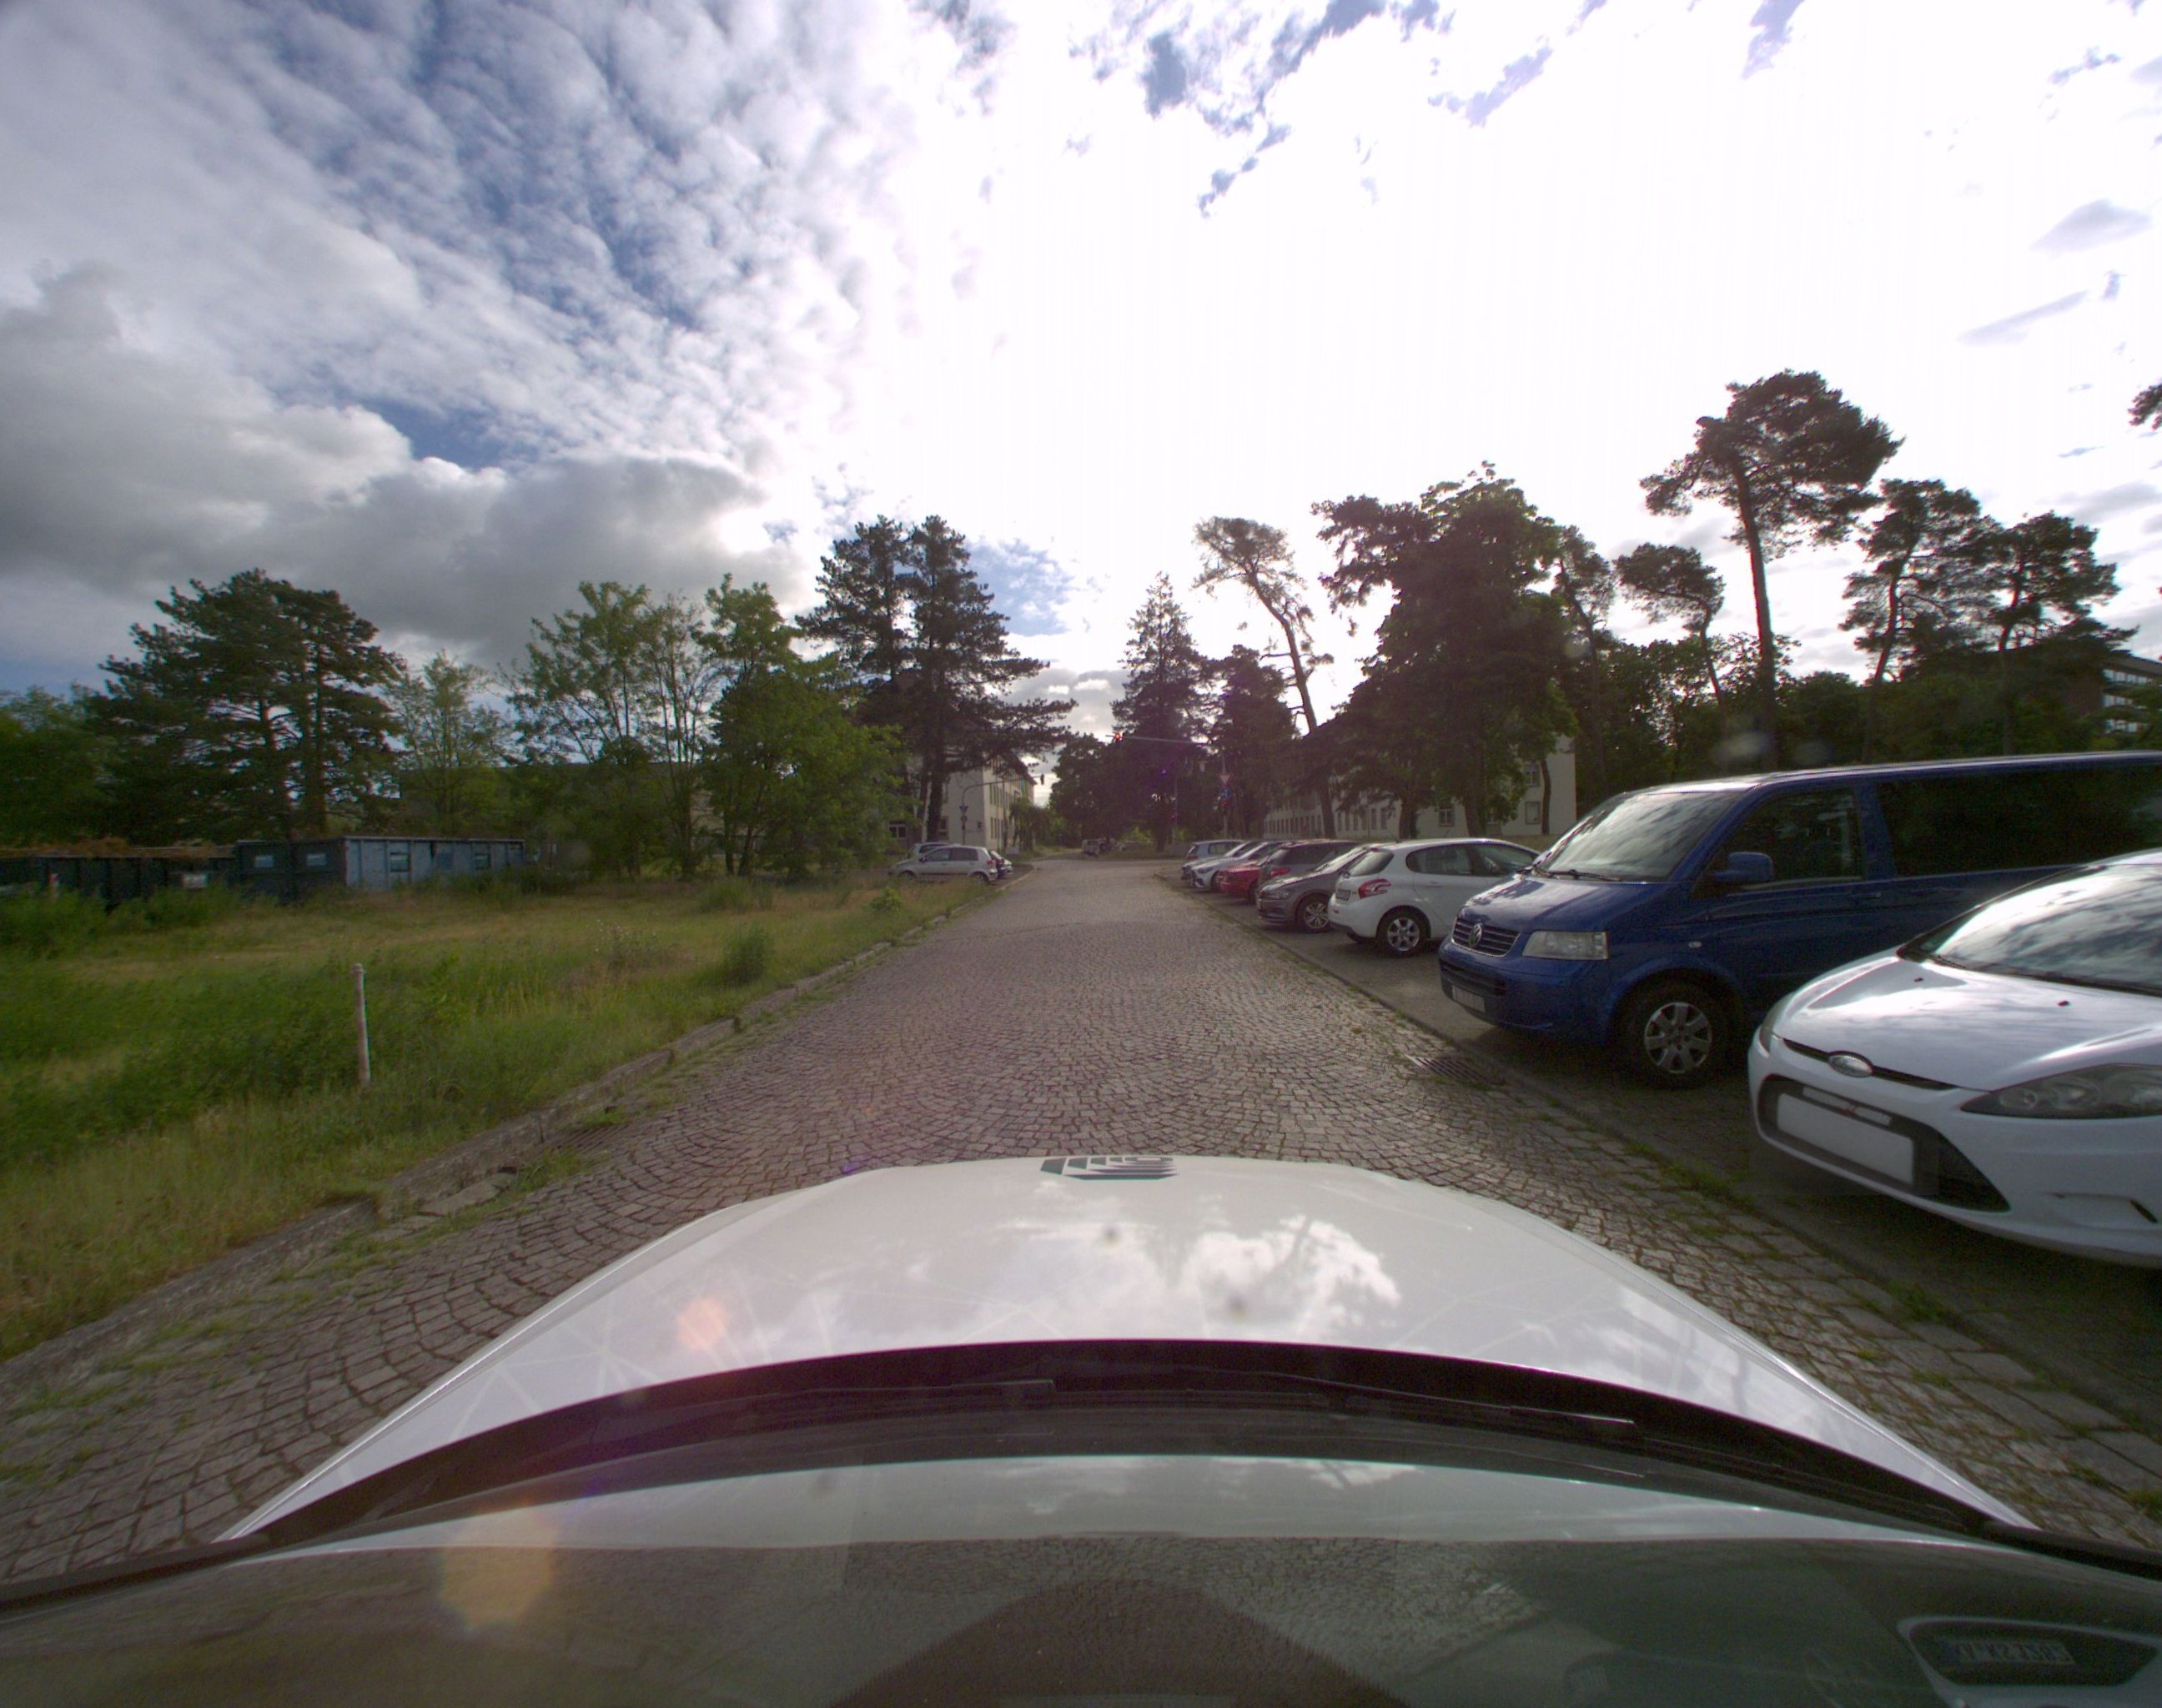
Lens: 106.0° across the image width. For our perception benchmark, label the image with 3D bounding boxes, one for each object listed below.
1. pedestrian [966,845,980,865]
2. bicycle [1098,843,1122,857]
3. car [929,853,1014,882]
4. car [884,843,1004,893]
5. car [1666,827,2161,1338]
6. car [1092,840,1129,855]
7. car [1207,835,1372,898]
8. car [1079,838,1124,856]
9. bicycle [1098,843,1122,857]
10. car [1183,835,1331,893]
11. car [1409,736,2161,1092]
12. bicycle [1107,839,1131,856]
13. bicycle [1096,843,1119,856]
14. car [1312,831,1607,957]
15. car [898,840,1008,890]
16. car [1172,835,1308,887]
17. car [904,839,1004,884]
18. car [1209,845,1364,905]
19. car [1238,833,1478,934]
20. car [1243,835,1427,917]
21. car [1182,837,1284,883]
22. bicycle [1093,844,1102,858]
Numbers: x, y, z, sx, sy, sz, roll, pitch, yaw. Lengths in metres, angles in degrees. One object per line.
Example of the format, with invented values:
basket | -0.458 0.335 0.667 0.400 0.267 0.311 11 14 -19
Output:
pedestrian | -8.379 0.094 62.951 0.895 1.498 0.904 -1 1 1
bicycle | 2.802 -0.425 79.200 2.158 1.268 0.811 -1 1 -6
car | -4.848 0.589 36.545 3.666 1.093 1.643 -2 1 -6
car | -4.762 0.457 28.827 3.981 1.552 1.996 -2 1 -6
car | 4.838 0.627 3.338 3.713 1.424 1.653 -3 1 -2
car | 3.380 -0.738 93.158 3.981 1.644 1.996 -1 1 -6
car | 5.568 0.303 22.016 3.981 1.543 1.661 -1 1 -6
car | 2.457 -0.874 96.435 5.051 2.013 1.993 -1 1 -10
bicycle | 2.799 -0.424 78.613 2.158 1.268 0.811 -1 1 -6
car | 5.180 0.259 24.249 3.981 1.543 1.661 -2 1 -6
car | 5.072 0.331 5.802 4.768 2.039 1.738 -2 1 -1
bicycle | 3.736 -0.609 79.909 2.158 1.615 0.811 -1 1 -6
bicycle | 2.582 -0.427 80.414 2.158 1.268 0.811 -1 1 -6
car | 5.067 0.488 11.197 3.283 1.504 1.663 -2 1 -2
car | -4.834 0.389 31.320 3.981 1.705 1.996 -2 1 -6
car | 5.222 0.218 27.064 4.116 1.543 1.661 -2 1 -6
car | -5.289 0.286 34.307 3.983 1.749 1.923 -1 1 -7
car | 4.922 0.474 19.770 3.287 1.267 1.661 -2 1 -6
car | 4.755 0.450 14.175 3.598 1.506 1.658 -2 1 -10
car | 5.263 0.408 17.054 3.293 1.504 1.658 -2 1 -10
car | 5.483 0.191 29.634 3.384 1.543 1.388 -2 1 -6
bicycle | 1.500 -0.303 74.854 0.807 1.268 1.974 -1 1 2
